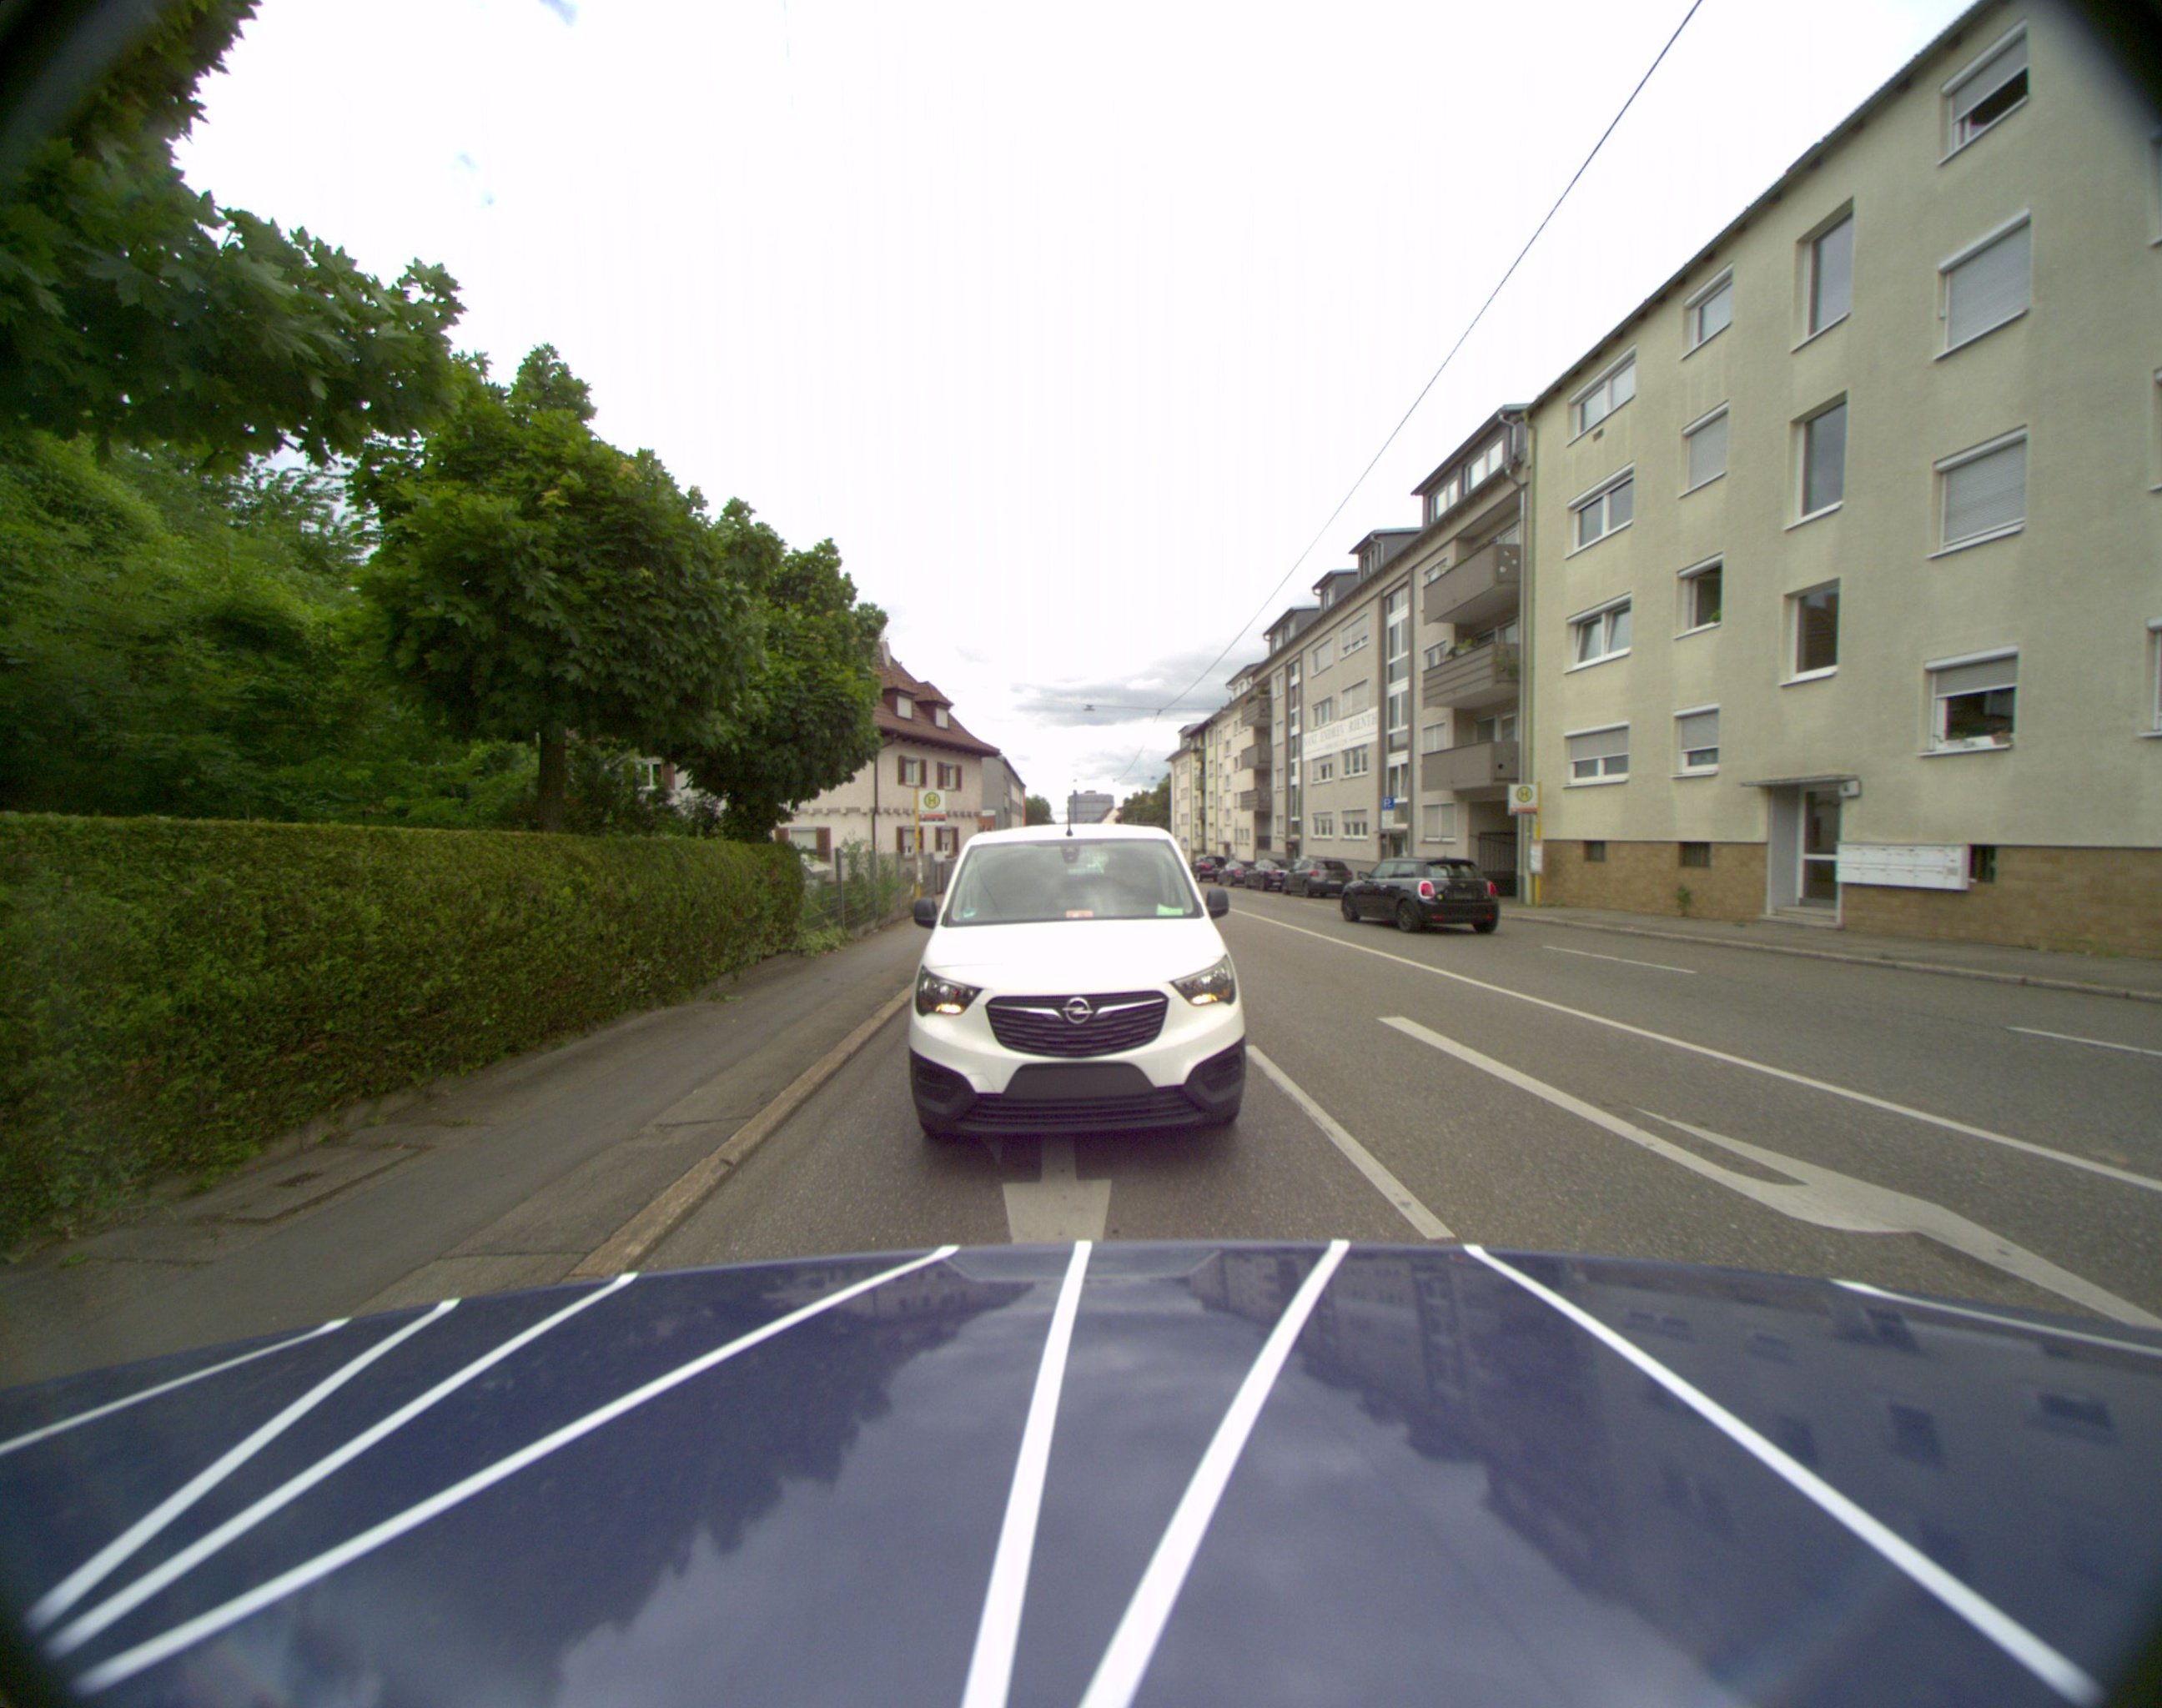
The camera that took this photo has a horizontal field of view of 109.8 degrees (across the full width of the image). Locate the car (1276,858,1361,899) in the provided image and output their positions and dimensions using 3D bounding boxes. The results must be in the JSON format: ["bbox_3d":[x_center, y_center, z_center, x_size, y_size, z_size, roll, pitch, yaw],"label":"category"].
[{"bbox_3d":[8.888,0.885,28.741,1.776,1.403,3.685,0,1,-5],"label":"car"}]

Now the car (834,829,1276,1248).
[{"bbox_3d":[-0.079,0.784,5.670,1.862,1.772,4.711,-2,1,1],"label":"car"}]

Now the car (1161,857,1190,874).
[{"bbox_3d":[8.116,0.975,65.638,1.776,1.395,3.757,0,1,-5],"label":"car"}]

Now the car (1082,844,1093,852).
[{"bbox_3d":[1.480,-1.390,173.235,1.999,1.892,3.998,-1,0,-4],"label":"car"}]

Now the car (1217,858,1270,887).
[{"bbox_3d":[8.390,0.917,39.540,1.776,1.395,3.538,0,1,-5],"label":"car"}]

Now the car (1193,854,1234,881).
[{"bbox_3d":[8.435,0.844,48.674,1.776,1.591,3.538,0,1,-5],"label":"car"}]

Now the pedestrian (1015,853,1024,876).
[{"bbox_3d":[-4.918,0.808,60.781,0.647,1.830,0.592,-1,1,3],"label":"pedestrian"}]

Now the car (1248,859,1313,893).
[{"bbox_3d":[8.730,0.922,33.512,1.669,1.368,3.538,0,1,-5],"label":"car"}]

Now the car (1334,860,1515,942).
[{"bbox_3d":[6.738,0.849,15.346,1.776,1.395,3.642,0,1,-5],"label":"car"}]

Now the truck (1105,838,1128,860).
[{"bbox_3d":[4.078,-0.554,88.096,2.546,2.522,5.494,0,0,1],"label":"truck"}]
